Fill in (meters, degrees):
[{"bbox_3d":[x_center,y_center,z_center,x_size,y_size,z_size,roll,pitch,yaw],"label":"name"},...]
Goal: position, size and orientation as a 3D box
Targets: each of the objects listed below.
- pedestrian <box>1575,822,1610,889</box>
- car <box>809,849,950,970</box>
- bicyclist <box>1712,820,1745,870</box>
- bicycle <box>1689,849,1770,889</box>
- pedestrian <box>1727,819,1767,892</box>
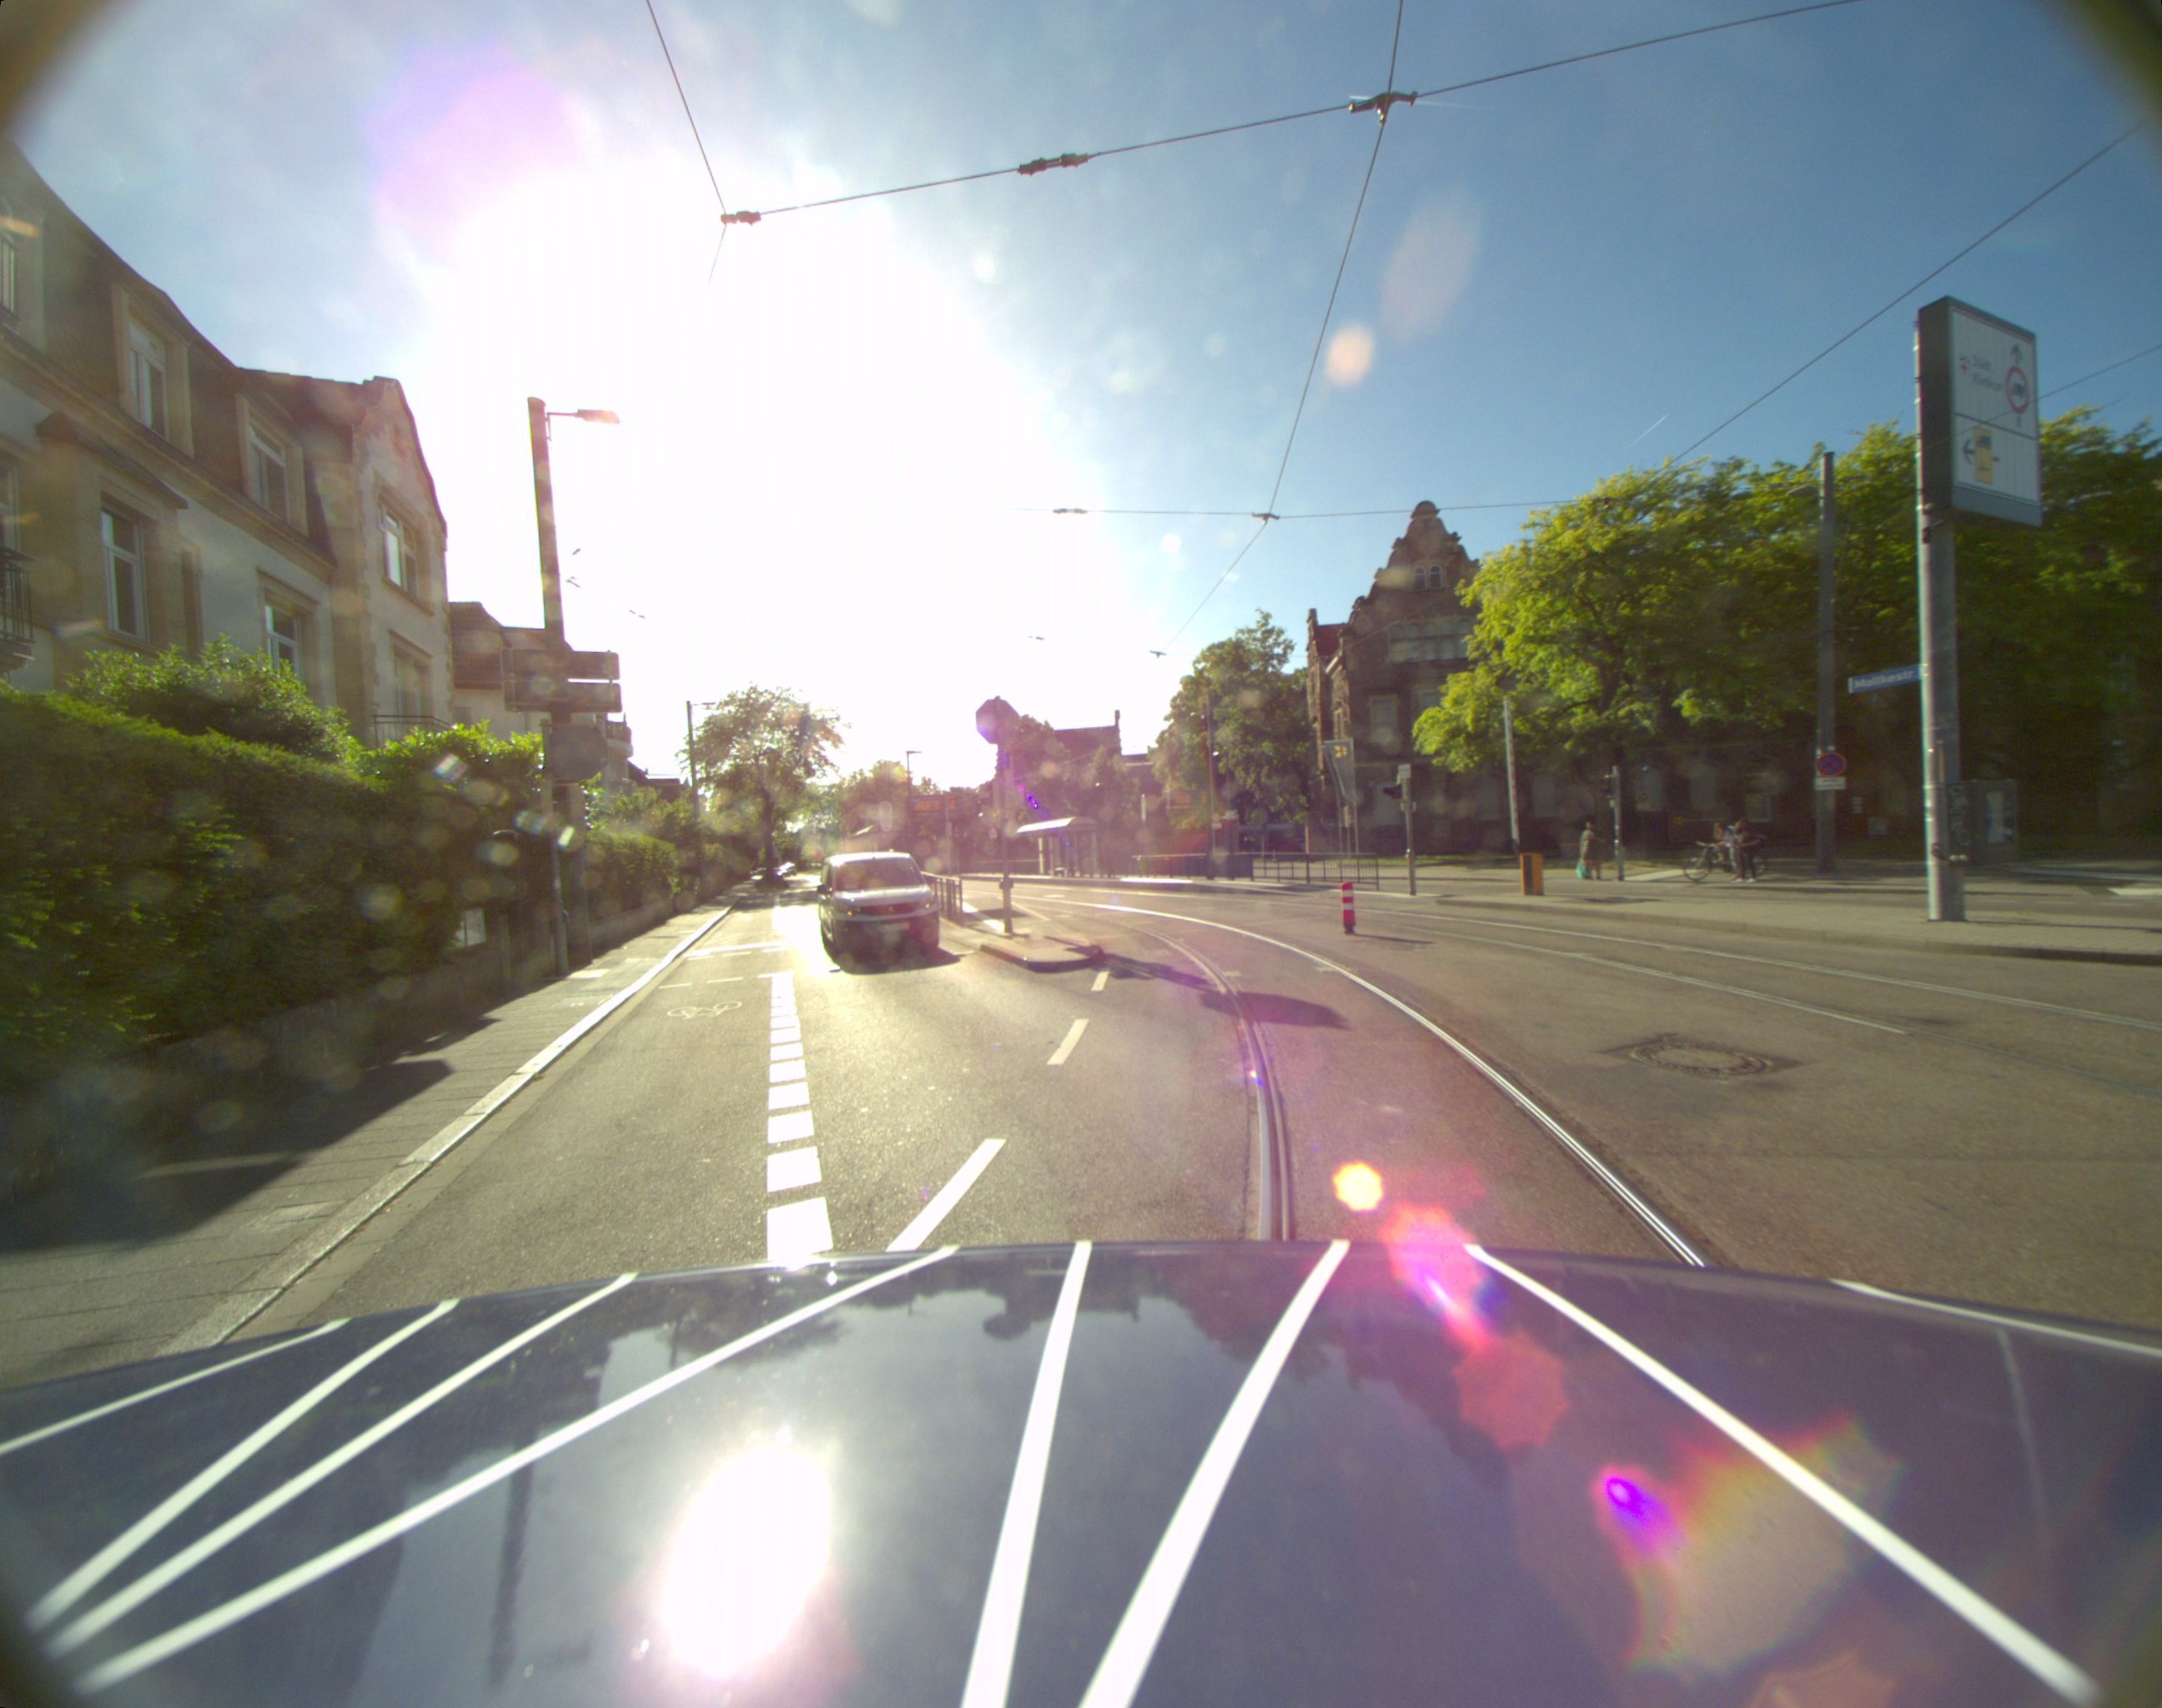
[{"bbox_3d":[15.117,0.041,22.456,0.487,1.944,0.696,-4,2,-42],"label":"pedestrian"},{"bbox_3d":[-4.042,0.894,14.614,1.860,1.788,4.688,-5,2,-23],"label":"car"},{"bbox_3d":[16.938,-0.237,19.887,0.617,1.277,0.479,-2,1,39],"label":"bicyclist"},{"bbox_3d":[16.976,0.409,19.931,1.589,0.991,0.480,-2,1,39],"label":"bicycle"},{"bbox_3d":[16.358,0.036,18.668,0.487,1.737,0.668,-4,2,-42],"label":"pedestrian"}]
